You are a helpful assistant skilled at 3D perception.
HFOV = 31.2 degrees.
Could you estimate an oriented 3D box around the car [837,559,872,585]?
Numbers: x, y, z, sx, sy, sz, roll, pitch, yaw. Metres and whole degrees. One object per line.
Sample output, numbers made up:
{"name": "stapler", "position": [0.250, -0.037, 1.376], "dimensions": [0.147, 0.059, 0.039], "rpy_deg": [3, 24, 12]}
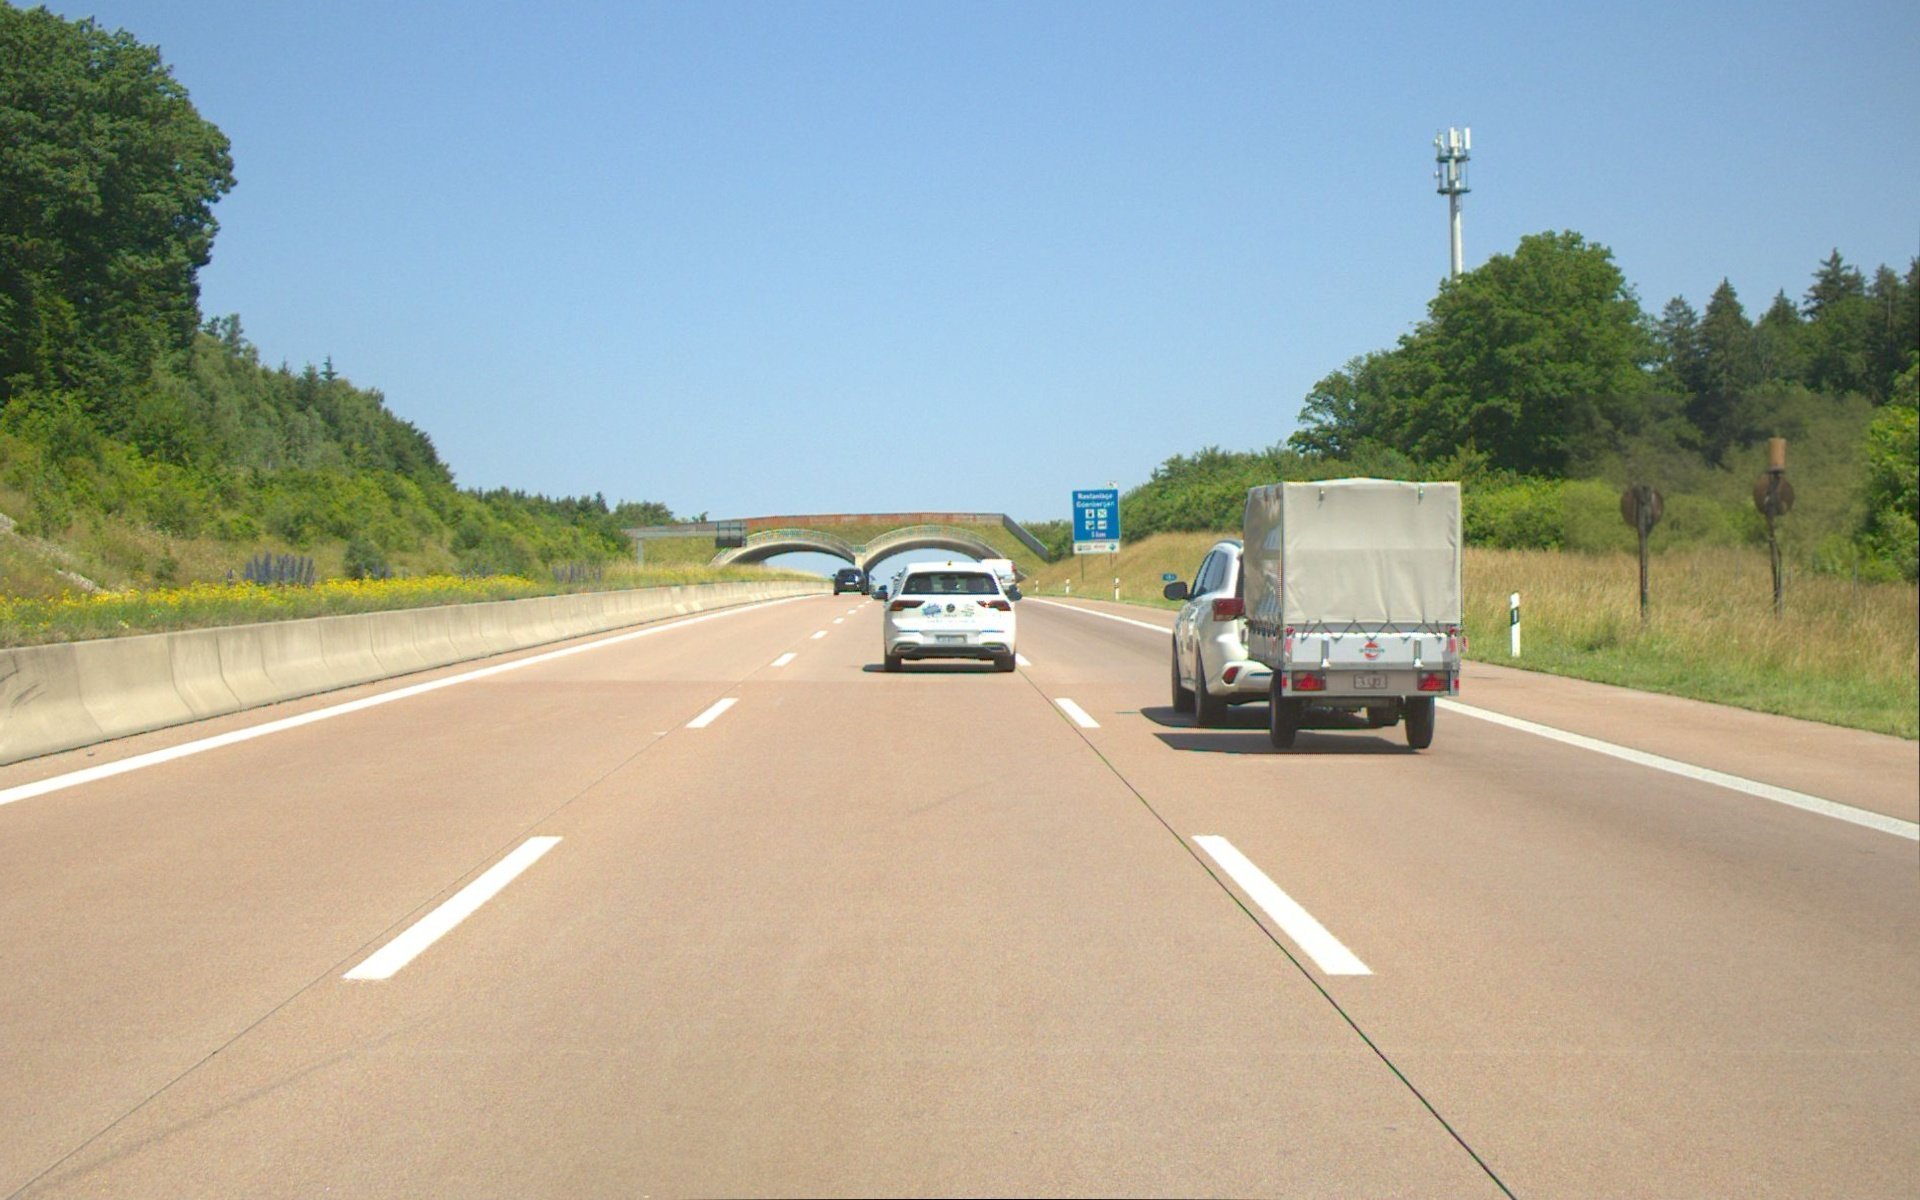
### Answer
{"name": "car", "position": [-6.285, -1.686, 205.318], "dimensions": [1.891, 1.458, 4.000], "rpy_deg": [0, 1, 1]}

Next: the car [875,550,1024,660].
{"name": "car", "position": [-0.169, 0.035, 46.170], "dimensions": [1.891, 1.393, 4.000], "rpy_deg": [1, 1, -1]}

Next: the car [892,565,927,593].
{"name": "car", "position": [-2.789, -1.165, 190.411], "dimensions": [1.891, 1.458, 4.000], "rpy_deg": [1, 1, 0]}

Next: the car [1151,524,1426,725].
{"name": "car", "position": [2.962, 0.178, 32.102], "dimensions": [1.890, 1.722, 5.187], "rpy_deg": [0, 1, -2]}

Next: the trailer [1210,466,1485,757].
{"name": "trailer", "position": [3.028, 0.066, 27.576], "dimensions": [1.657, 2.156, 4.016], "rpy_deg": [0, 0, -1]}

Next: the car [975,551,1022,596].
{"name": "car", "position": [1.823, -1.262, 160.868], "dimensions": [2.110, 2.047, 4.000], "rpy_deg": [0, 1, 1]}
